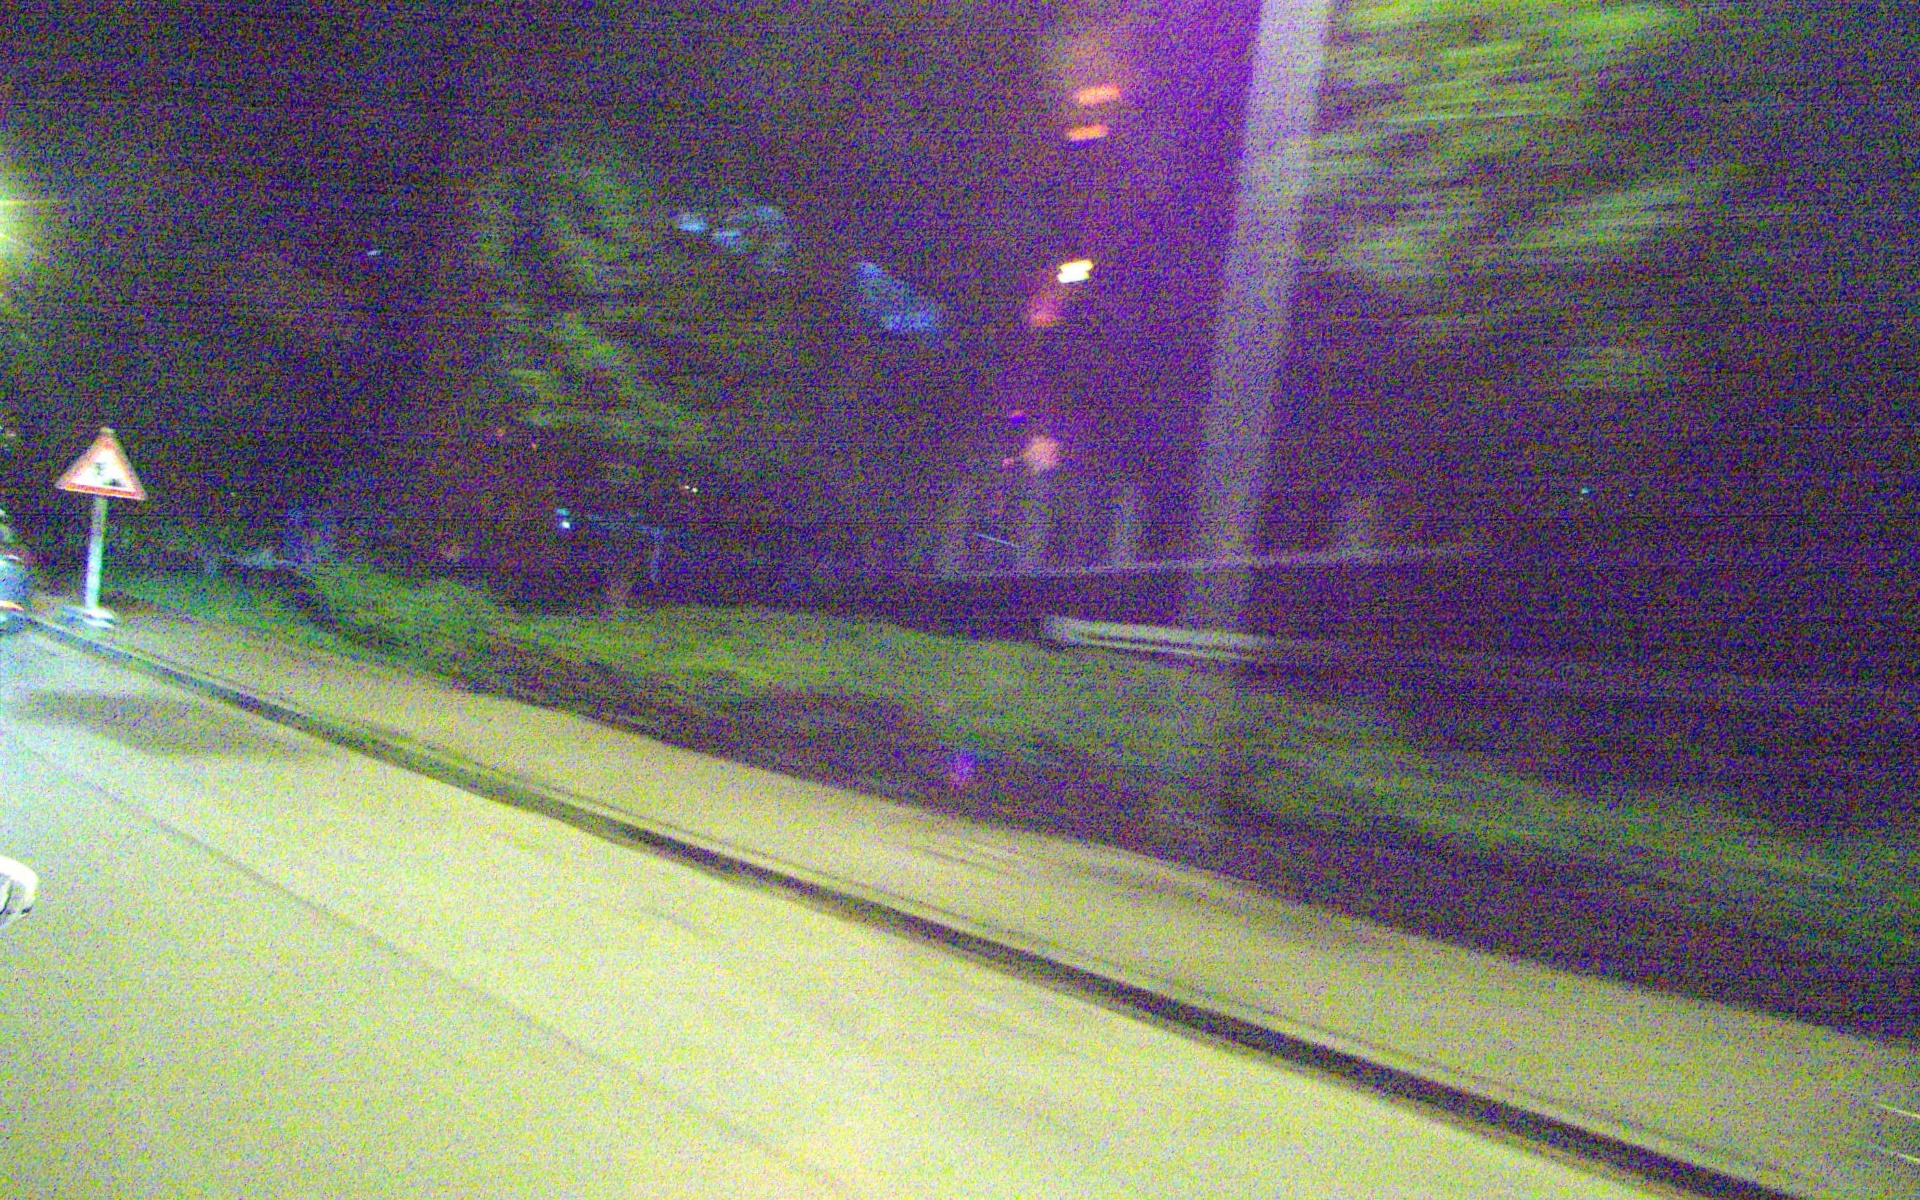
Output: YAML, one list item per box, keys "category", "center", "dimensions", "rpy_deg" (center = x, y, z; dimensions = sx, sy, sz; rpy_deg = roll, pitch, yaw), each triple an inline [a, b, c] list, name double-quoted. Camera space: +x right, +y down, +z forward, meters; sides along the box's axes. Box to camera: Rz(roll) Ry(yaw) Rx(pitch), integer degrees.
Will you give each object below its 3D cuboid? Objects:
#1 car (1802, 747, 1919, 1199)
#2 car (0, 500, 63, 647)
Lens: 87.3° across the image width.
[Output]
- category: "car"
  center: [4.032, 1.338, 1.442]
  dimensions: [3.930, 1.525, 1.715]
  rpy_deg: [7, -2, 28]
- category: "car"
  center: [-12.309, -0.540, 11.671]
  dimensions: [4.567, 1.526, 1.712]
  rpy_deg: [7, -1, 35]
